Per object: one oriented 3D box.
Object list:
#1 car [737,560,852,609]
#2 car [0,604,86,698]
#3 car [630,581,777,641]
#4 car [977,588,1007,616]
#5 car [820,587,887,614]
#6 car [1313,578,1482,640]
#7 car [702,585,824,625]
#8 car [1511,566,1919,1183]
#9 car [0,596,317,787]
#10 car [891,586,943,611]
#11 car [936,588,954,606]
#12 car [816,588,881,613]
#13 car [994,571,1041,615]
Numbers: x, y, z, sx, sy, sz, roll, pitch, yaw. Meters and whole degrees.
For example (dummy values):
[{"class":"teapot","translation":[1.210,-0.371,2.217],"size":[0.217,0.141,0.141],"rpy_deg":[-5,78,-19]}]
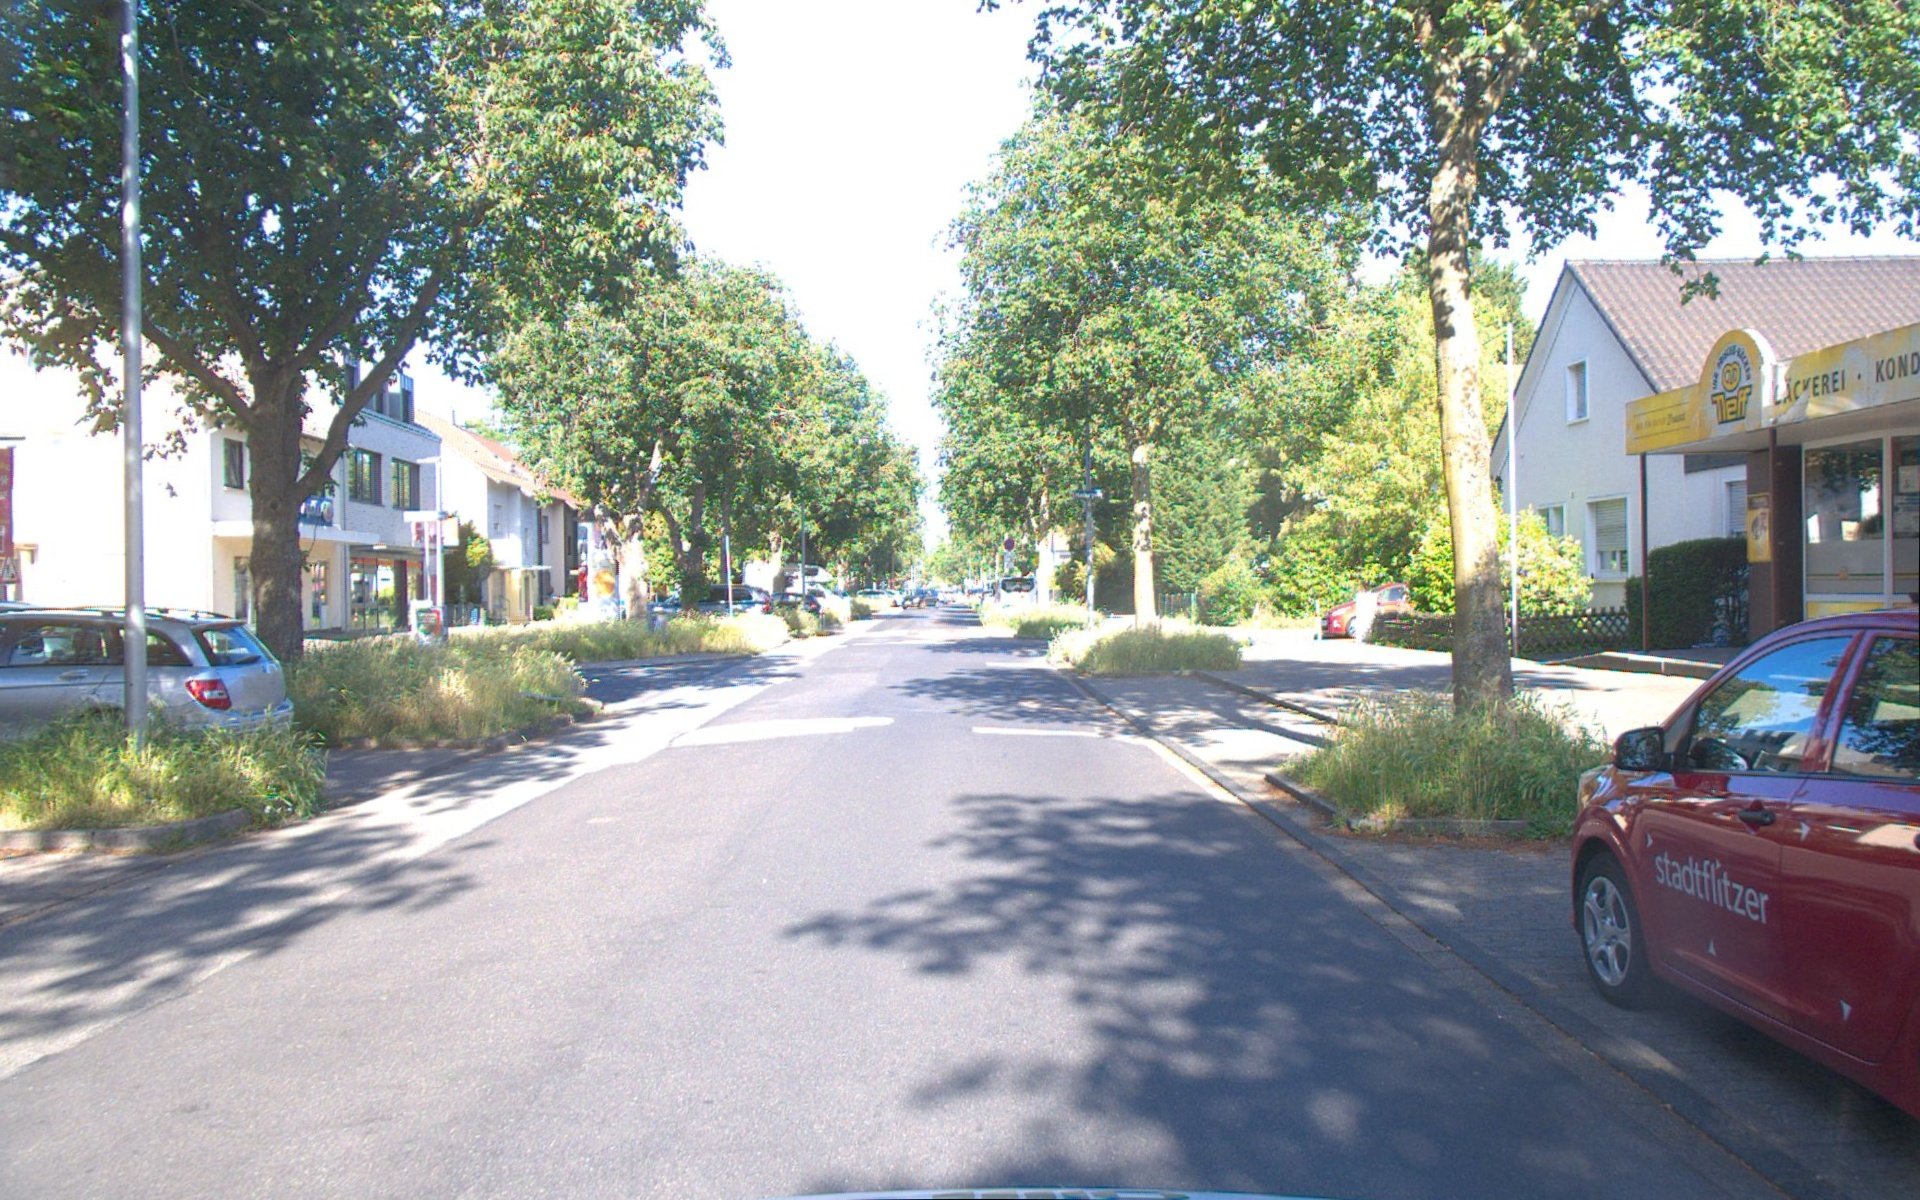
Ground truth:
[{"class":"car","translation":[-7.977,-0.747,80.298],"size":[5.388,2.286,2.516],"rpy_deg":[0,2,-2]},{"class":"car","translation":[-19.340,0.940,31.331],"size":[4.465,1.646,1.999],"rpy_deg":[0,2,-5]},{"class":"car","translation":[-8.079,0.338,52.473],"size":[4.457,1.796,1.998],"rpy_deg":[0,2,-6]},{"class":"car","translation":[2.115,0.142,109.469],"size":[1.864,1.805,4.301],"rpy_deg":[0,0,0]},{"class":"car","translation":[-6.030,0.022,93.792],"size":[3.624,1.471,1.665],"rpy_deg":[0,0,3]},{"class":"car","translation":[12.144,0.228,46.117],"size":[4.199,1.637,2.000],"rpy_deg":[0,2,0]},{"class":"car","translation":[-6.941,0.173,58.548],"size":[4.203,1.338,1.907],"rpy_deg":[0,2,-6]},{"class":"car","translation":[3.207,0.659,5.151],"size":[1.662,1.504,3.888],"rpy_deg":[-3,0,1]},{"class":"car","translation":[-8.372,0.765,14.838],"size":[4.462,1.537,1.841],"rpy_deg":[0,2,-1]},{"class":"car","translation":[-3.134,-0.140,122.044],"size":[1.958,1.672,3.990],"rpy_deg":[1,2,33]},{"class":"car","translation":[-1.511,-0.299,165.876],"size":[1.766,1.735,3.999],"rpy_deg":[0,2,-2]},{"class":"car","translation":[-6.543,0.016,97.202],"size":[3.624,1.471,1.665],"rpy_deg":[0,0,3]},{"class":"car","translation":[2.436,-0.301,71.298],"size":[1.864,1.805,4.301],"rpy_deg":[0,0,0]}]
